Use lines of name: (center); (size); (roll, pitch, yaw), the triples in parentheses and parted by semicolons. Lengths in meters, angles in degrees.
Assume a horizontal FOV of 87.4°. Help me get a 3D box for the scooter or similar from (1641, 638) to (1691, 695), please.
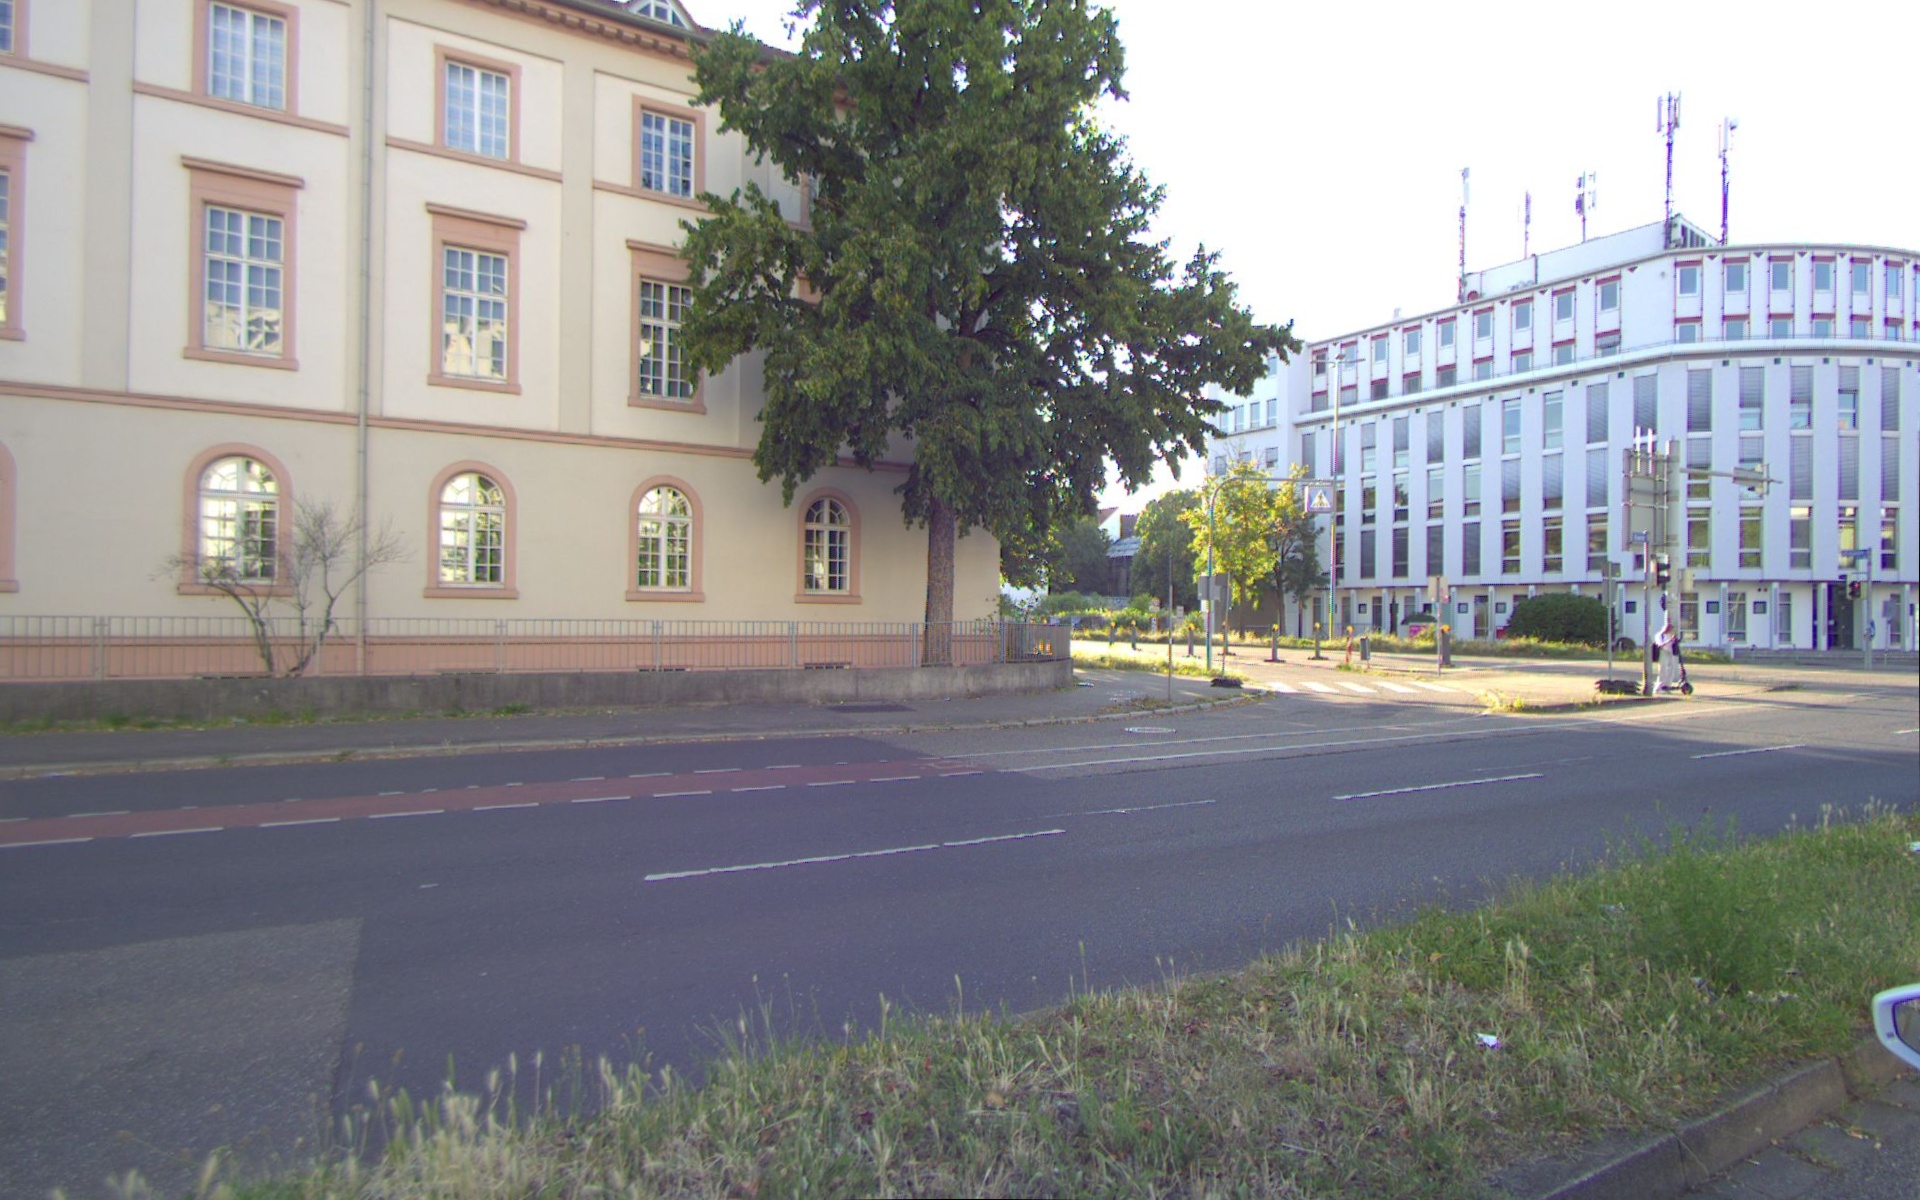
scooter or similar: (16.202, 1.510, 23.064); (0.368, 1.250, 0.885); (1, -1, -40)

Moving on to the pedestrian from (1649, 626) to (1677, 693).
pedestrian: (16.351, 1.378, 23.377); (0.332, 1.525, 0.470); (1, -1, -41)
